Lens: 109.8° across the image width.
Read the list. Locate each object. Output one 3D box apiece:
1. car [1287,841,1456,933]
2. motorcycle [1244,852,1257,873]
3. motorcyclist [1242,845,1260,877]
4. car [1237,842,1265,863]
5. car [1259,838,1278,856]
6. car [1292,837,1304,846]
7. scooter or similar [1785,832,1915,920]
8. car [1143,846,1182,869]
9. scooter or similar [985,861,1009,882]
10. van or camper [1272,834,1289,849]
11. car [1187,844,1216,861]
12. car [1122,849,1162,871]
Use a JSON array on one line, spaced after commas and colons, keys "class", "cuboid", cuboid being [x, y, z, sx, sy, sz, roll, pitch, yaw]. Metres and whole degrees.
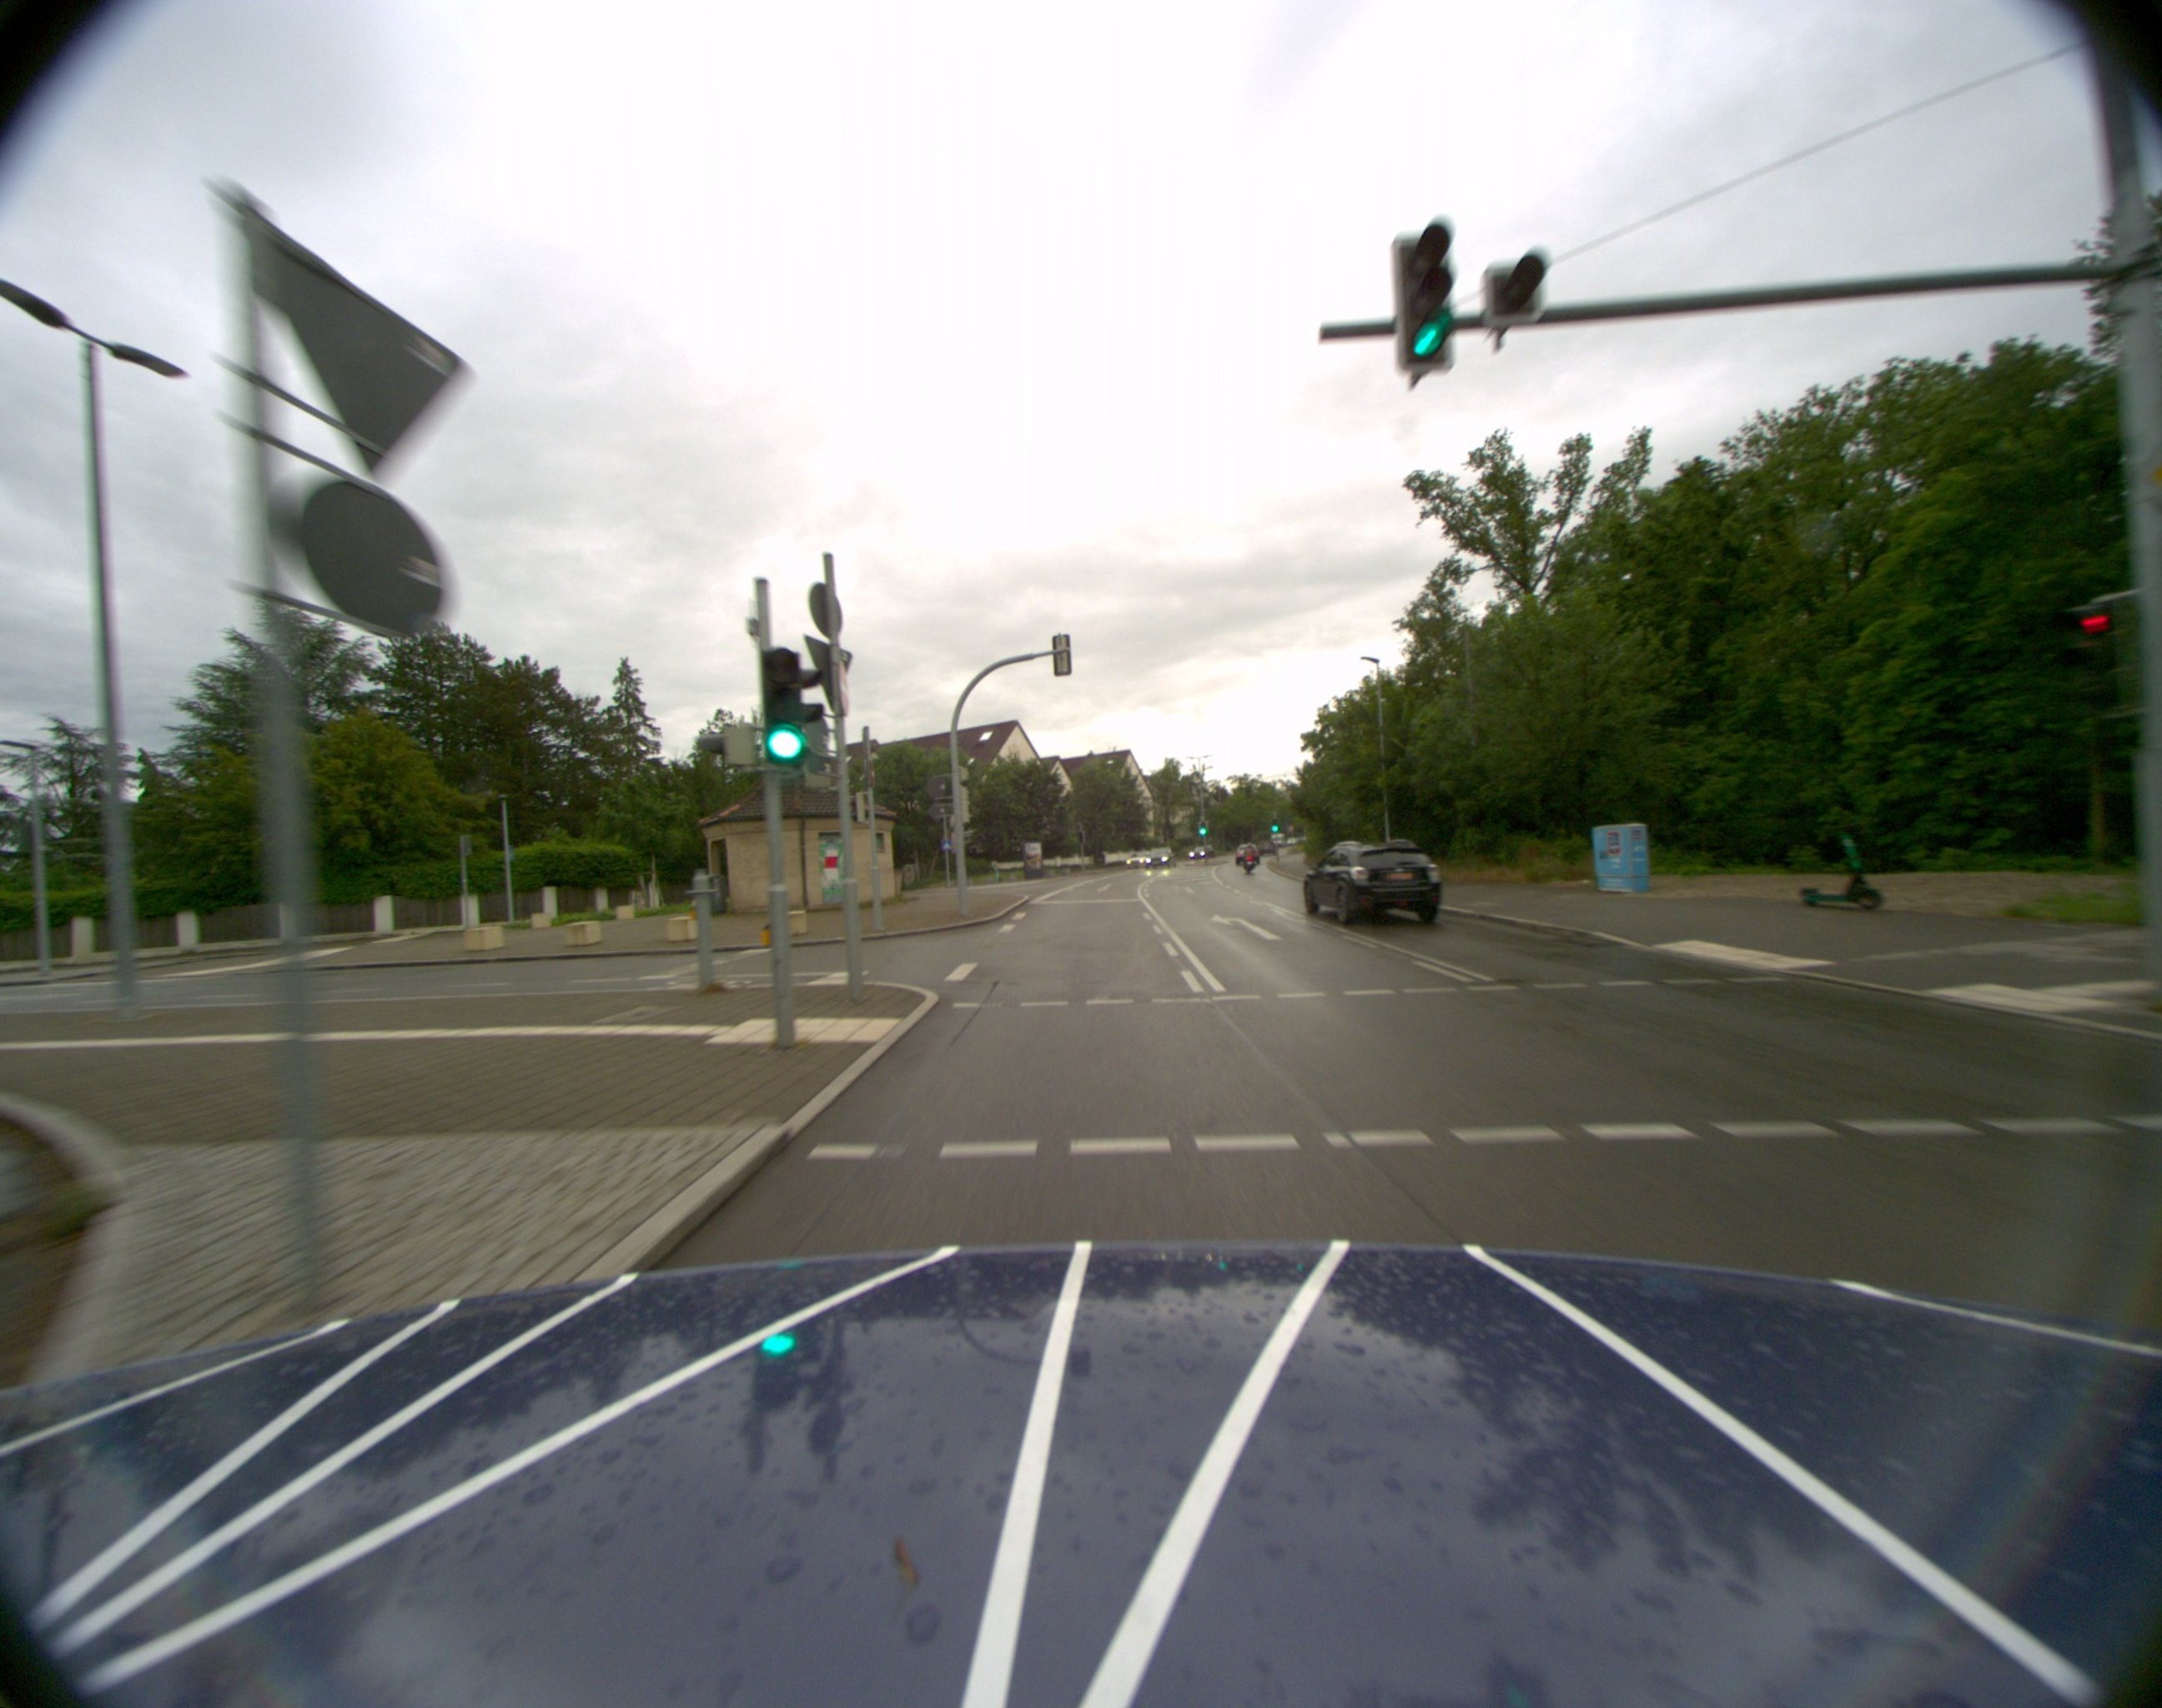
[{"class": "car", "cuboid": [5.877, 0.588, 16.034, 1.793, 1.572, 4.561, -3, 0, 0]}, {"class": "motorcycle", "cuboid": [9.066, 0.441, 40.630, 0.595, 1.044, 2.000, -2, 1, 11]}, {"class": "motorcyclist", "cuboid": [9.098, 0.368, 40.675, 0.747, 1.623, 0.927, -3, 1, 3]}, {"class": "car", "cuboid": [12.245, -0.136, 54.873, 1.744, 1.344, 4.212, -2, 0, 11]}, {"class": "car", "cuboid": [18.828, -0.713, 76.186, 1.578, 1.721, 3.779, -2, 1, 18]}, {"class": "car", "cuboid": [43.409, -2.436, 151.852, 1.942, 1.594, 4.610, -2, 1, 22]}, {"class": "scooter or similar", "cuboid": [11.394, 0.299, 11.316, 0.518, 1.205, 1.469, -4, 1, 7]}, {"class": "car", "cuboid": [6.003, 0.242, 55.401, 1.942, 1.446, 4.608, -3, 1, 16]}, {"class": "scooter or similar", "cuboid": [-5.521, 1.147, 50.117, 1.350, 1.200, 0.525, -6, 1, 15]}, {"class": "van or camper", "cuboid": [35.084, -2.287, 133.771, 1.995, 2.438, 4.728, -4, 1, 24]}, {"class": "car", "cuboid": [12.759, -0.210, 80.127, 1.942, 1.594, 4.610, -2, 1, 22]}, {"class": "car", "cuboid": [5.135, 0.450, 63.204, 1.942, 1.594, 4.610, -2, 1, 22]}]
